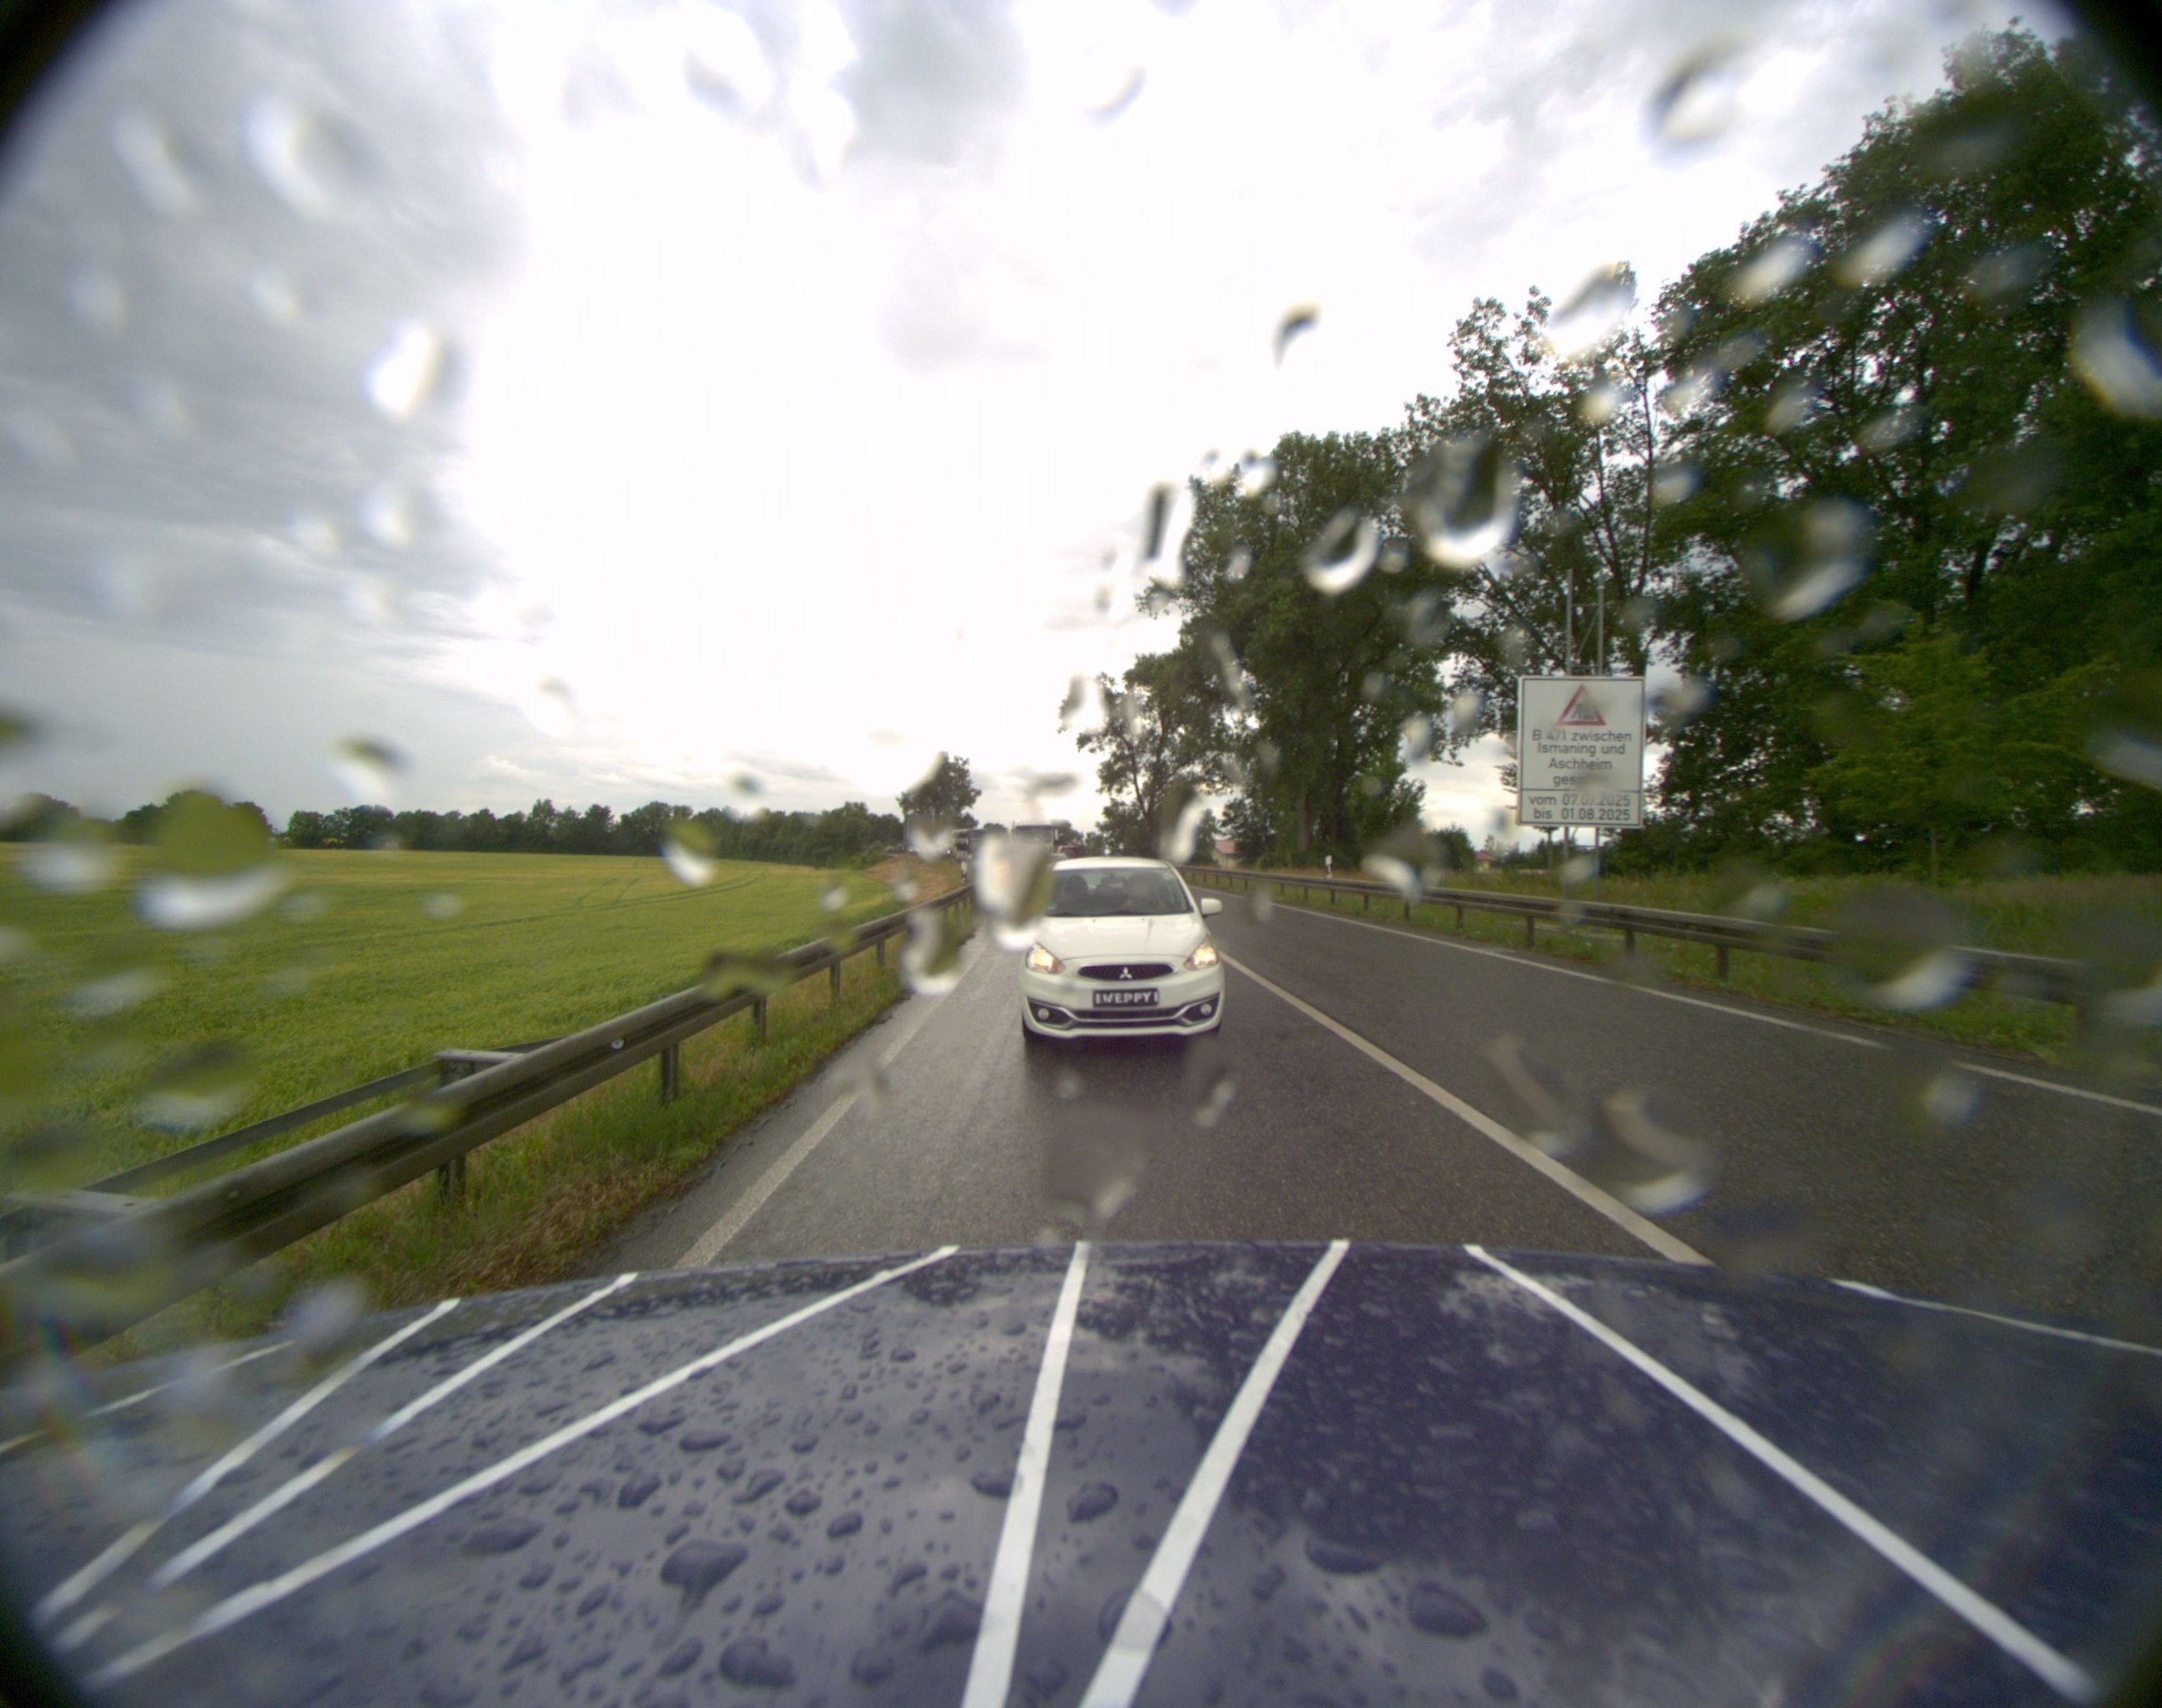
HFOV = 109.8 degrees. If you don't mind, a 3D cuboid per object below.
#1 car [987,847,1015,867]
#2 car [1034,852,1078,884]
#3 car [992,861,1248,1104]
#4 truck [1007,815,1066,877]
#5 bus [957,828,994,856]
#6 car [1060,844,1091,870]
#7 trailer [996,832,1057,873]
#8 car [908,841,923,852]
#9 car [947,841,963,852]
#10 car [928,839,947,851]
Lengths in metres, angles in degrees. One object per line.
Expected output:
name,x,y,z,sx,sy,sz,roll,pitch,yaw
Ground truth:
car,-7.860,0.233,74.165,2.044,1.832,5.329,-2,1,-13
car,-1.302,0.662,38.250,1.782,1.380,4.325,-2,1,-7
car,0.271,0.875,7.055,1.653,1.461,4.029,-2,1,0
truck,-2.959,-0.526,48.553,2.986,3.589,6.074,-2,1,-10
bus,-13.860,-1.566,98.375,2.967,3.294,14.815,-2,2,-15
car,-0.456,0.213,57.695,1.807,1.840,4.516,-1,1,-8
trailer,-4.377,-0.192,56.990,2.986,2.618,15.666,-2,1,-10
car,-33.488,-1.521,153.536,2.002,2.002,4.223,-2,1,-23
car,-19.308,-1.137,116.625,1.816,1.569,3.994,-2,1,-17
car,-24.989,-1.629,132.554,2.002,2.002,5.325,-2,1,-24
